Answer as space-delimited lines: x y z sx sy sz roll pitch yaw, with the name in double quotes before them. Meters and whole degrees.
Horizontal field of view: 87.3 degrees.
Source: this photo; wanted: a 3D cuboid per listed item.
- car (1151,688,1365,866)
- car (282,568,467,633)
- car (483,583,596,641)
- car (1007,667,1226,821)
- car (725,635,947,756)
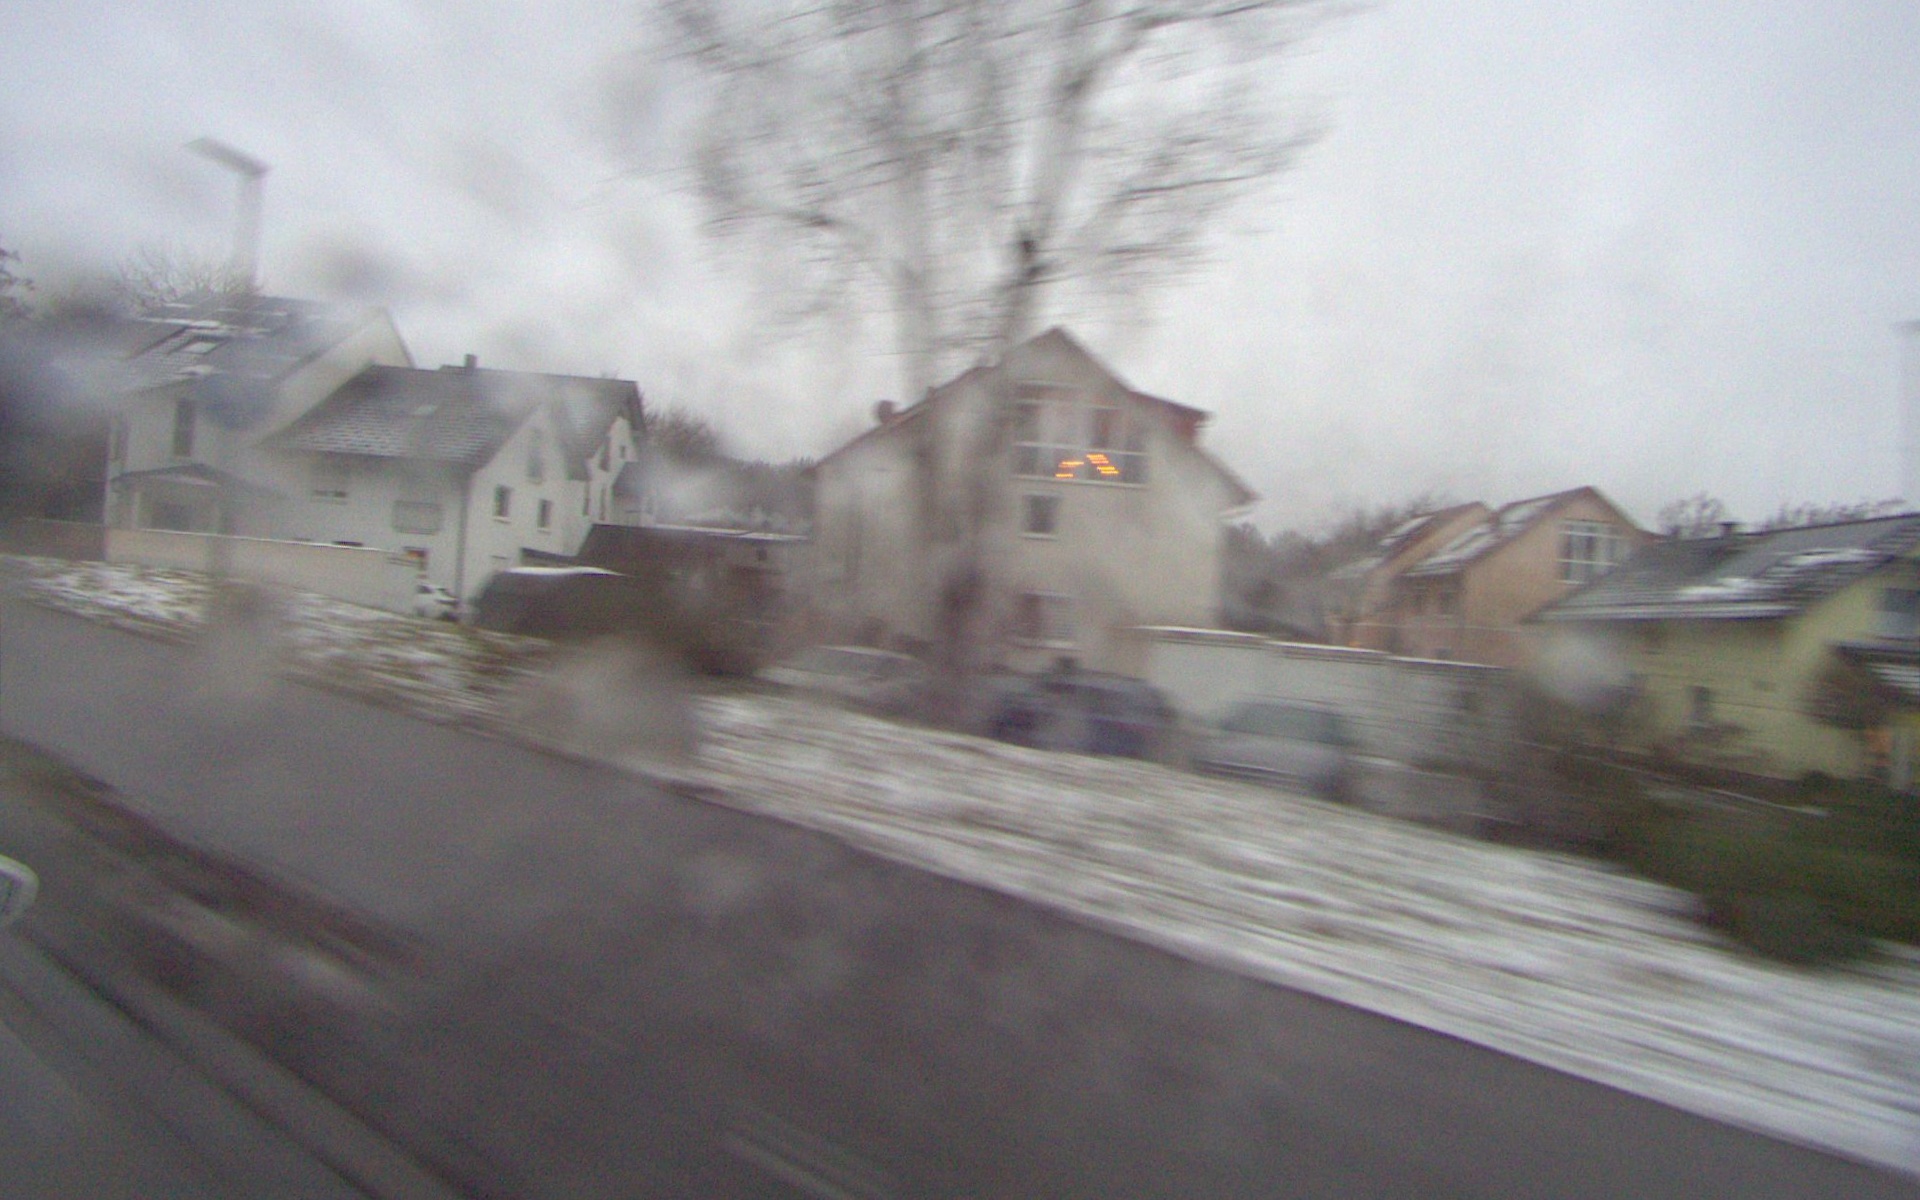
"car" 3.946 2.081 12.873 1.772 1.616 3.790 7 0 28
"car" -19.172 0.013 33.198 4.834 1.506 1.946 7 0 -16
"car" -15.708 0.435 37.474 4.273 1.611 1.945 7 0 38
"car" 2.344 1.888 14.193 1.772 1.616 3.790 7 0 28
"car" -1.988 1.581 17.232 1.772 1.616 3.790 7 0 28
